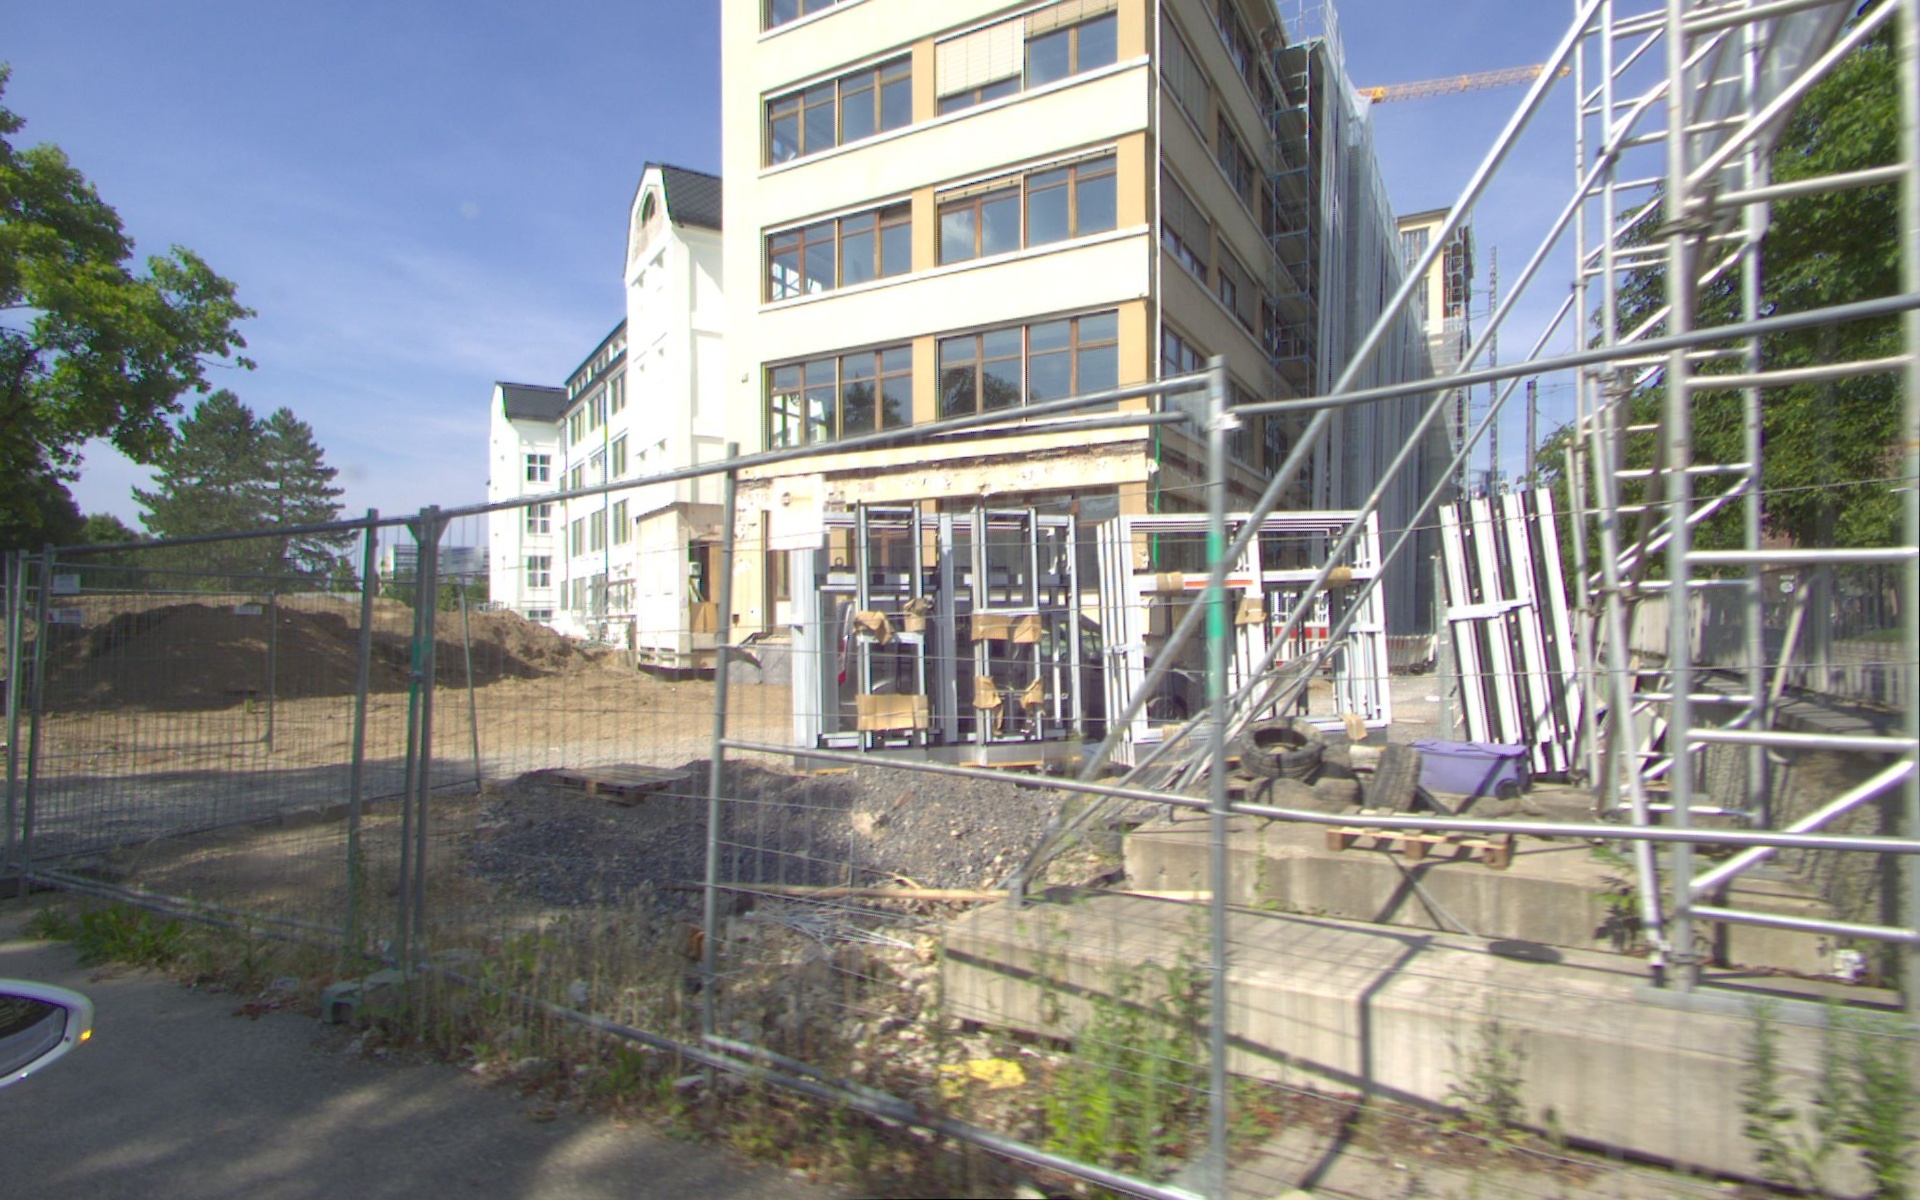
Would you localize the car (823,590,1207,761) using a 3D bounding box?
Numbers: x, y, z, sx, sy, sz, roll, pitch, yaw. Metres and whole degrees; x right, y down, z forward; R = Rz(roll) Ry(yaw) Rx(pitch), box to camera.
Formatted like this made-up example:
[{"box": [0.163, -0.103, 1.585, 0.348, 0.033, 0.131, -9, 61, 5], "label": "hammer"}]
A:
[{"box": [0.550, 0.853, 11.951, 4.232, 1.803, 1.921, 0, -2, -11], "label": "car"}]

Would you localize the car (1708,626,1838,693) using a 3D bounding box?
[{"box": [20.391, 1.423, 25.310, 1.971, 1.498, 4.334, 0, -1, 31], "label": "car"}]
